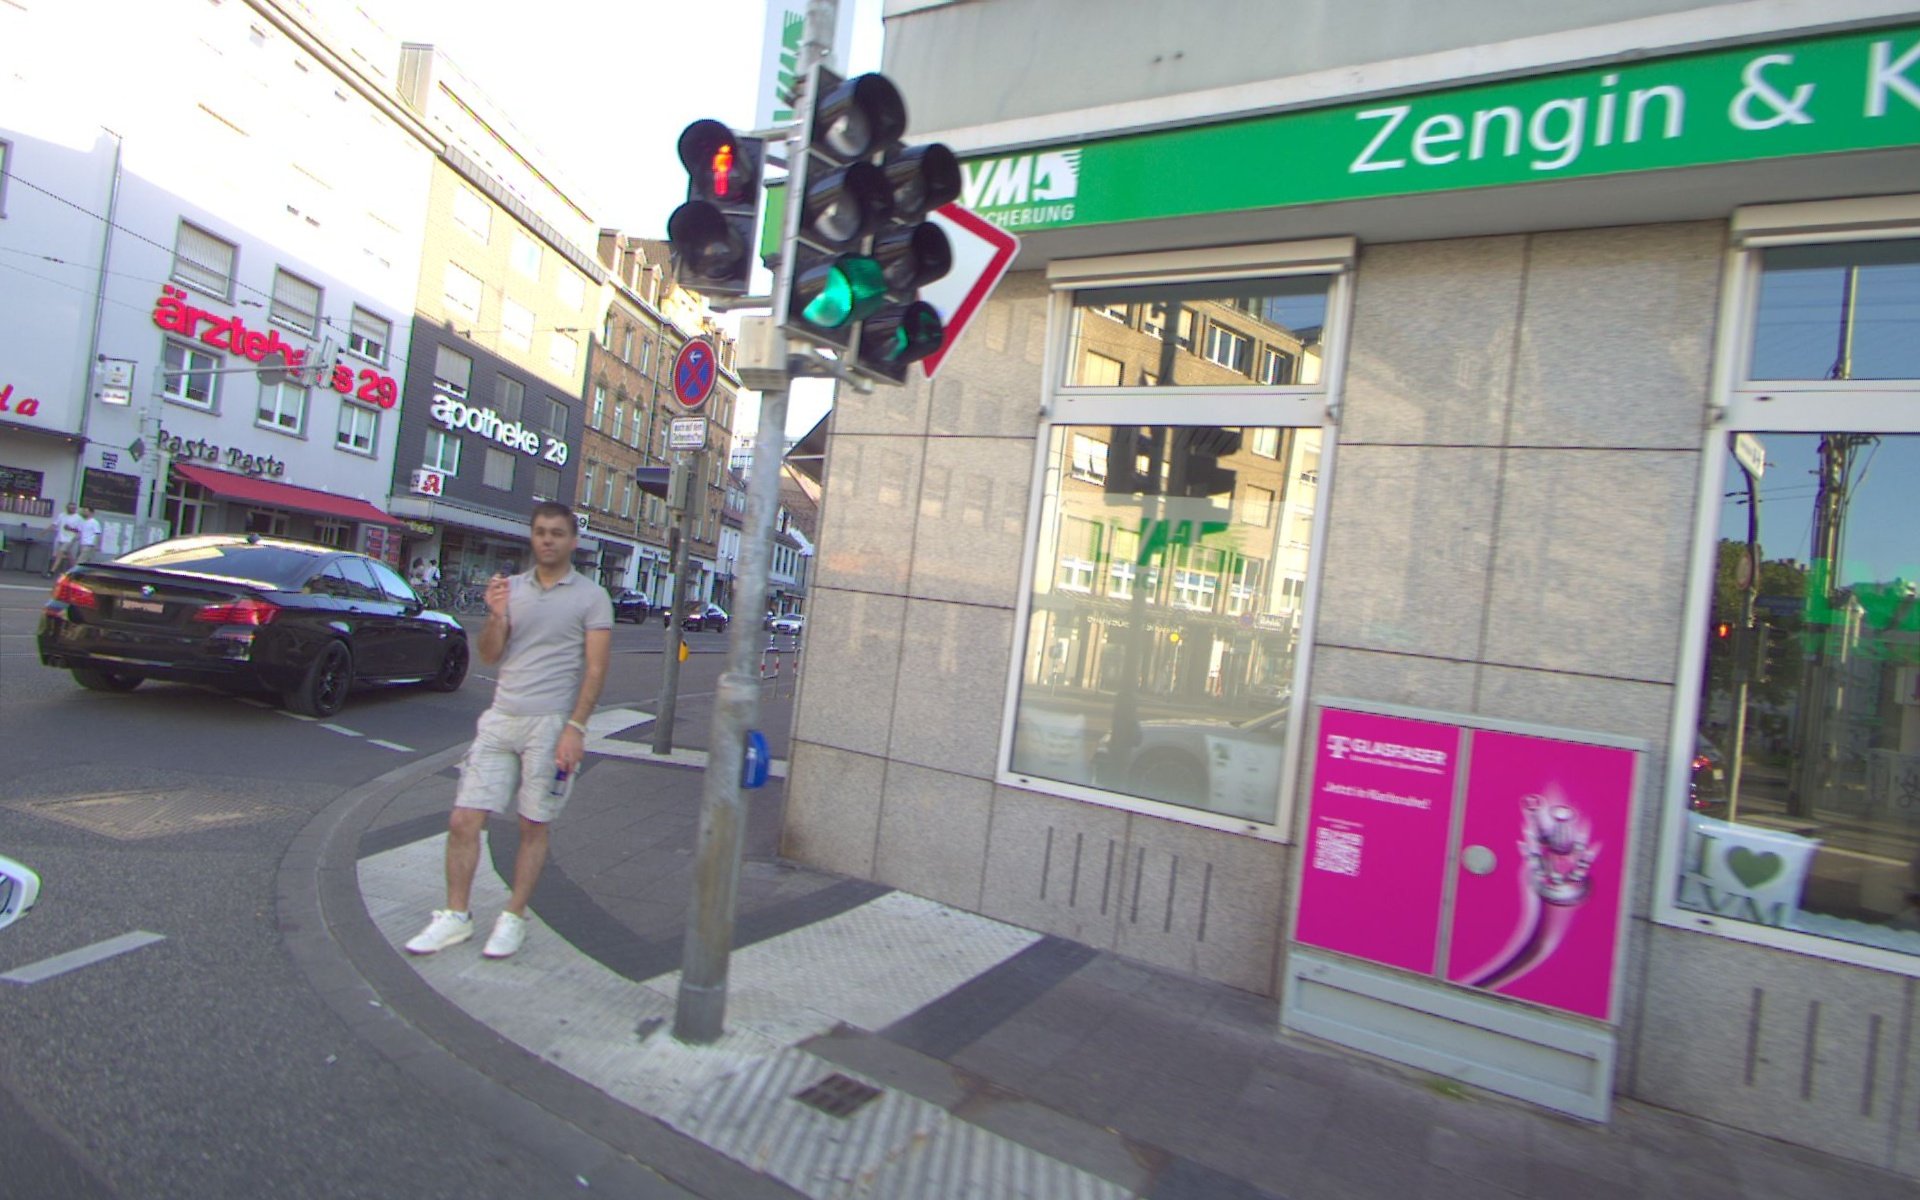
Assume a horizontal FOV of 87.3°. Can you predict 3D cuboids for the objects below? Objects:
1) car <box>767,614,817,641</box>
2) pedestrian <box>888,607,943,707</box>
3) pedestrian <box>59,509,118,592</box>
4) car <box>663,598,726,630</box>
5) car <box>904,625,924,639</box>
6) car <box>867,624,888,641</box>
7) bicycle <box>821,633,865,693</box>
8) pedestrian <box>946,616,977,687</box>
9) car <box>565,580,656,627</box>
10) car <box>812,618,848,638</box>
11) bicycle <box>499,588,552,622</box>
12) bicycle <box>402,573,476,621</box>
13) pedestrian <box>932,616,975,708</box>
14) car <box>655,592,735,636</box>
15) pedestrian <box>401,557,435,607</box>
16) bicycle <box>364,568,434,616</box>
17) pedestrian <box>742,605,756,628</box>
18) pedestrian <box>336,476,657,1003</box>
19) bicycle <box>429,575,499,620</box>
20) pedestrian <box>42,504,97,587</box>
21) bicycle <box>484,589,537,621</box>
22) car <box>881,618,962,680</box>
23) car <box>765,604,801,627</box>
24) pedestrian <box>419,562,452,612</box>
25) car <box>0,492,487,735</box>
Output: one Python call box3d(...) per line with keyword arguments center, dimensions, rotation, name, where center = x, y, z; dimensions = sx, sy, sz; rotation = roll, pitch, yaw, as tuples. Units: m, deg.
box3d(center=(-11.153, 1.855, 67.135), dimensions=(1.962, 1.469, 4.662), rotation=(7, -2, 7), name="car")
box3d(center=(-0.847, 1.099, 19.520), dimensions=(0.754, 1.827, 0.929), rotation=(5, -1, 7), name="pedestrian")
box3d(center=(-19.920, -1.121, 23.005), dimensions=(0.627, 1.765, 0.668), rotation=(7, -1, 28), name="pedestrian")
box3d(center=(-15.435, 0.827, 58.726), dimensions=(1.839, 1.469, 4.616), rotation=(7, -2, 7), name="car")
box3d(center=(-5.810, 4.113, 127.302), dimensions=(1.962, 1.469, 4.654), rotation=(7, -2, 4), name="car")
box3d(center=(-9.611, 3.814, 117.816), dimensions=(1.837, 1.704, 4.004), rotation=(8, -2, 2), name="car")
box3d(center=(-2.461, 1.325, 21.240), dimensions=(0.525, 1.160, 1.492), rotation=(6, -2, 4), name="bicycle")
box3d(center=(0.051, 1.478, 28.824), dimensions=(0.650, 1.950, 0.880), rotation=(6, -1, 4), name="pedestrian")
box3d(center=(-16.262, 0.220, 47.078), dimensions=(1.900, 1.693, 4.651), rotation=(8, -2, 8), name="car")
box3d(center=(-11.791, 2.591, 91.435), dimensions=(1.962, 1.469, 4.828), rotation=(7, -2, 7), name="car")
box3d(center=(-17.084, 0.209, 39.547), dimensions=(1.803, 1.060, 0.489), rotation=(9, 1, 6), name="bicycle")
box3d(center=(-17.400, -0.100, 33.630), dimensions=(2.079, 1.238, 0.554), rotation=(9, -1, 6), name="bicycle")
box3d(center=(-0.126, 1.227, 20.023), dimensions=(0.639, 1.739, 0.679), rotation=(5, -1, 7), name="pedestrian")
box3d(center=(-12.725, 0.724, 48.646), dimensions=(1.962, 1.747, 4.733), rotation=(5, -2, 7), name="car")
box3d(center=(-19.640, -0.643, 36.482), dimensions=(0.671, 1.680, 0.625), rotation=(7, 0, 6), name="pedestrian")
box3d(center=(-17.989, -0.261, 32.269), dimensions=(1.861, 1.225, 0.554), rotation=(9, -1, 6), name="bicycle")
box3d(center=(-15.766, 1.241, 75.304), dimensions=(0.652, 1.663, 0.695), rotation=(7, -1, 7), name="pedestrian")
box3d(center=(-1.752, 0.478, 3.849), dimensions=(0.682, 1.763, 0.653), rotation=(6, -1, 28), name="pedestrian")
box3d(center=(-17.246, -0.086, 34.983), dimensions=(2.079, 1.237, 0.554), rotation=(9, -1, 6), name="bicycle")
box3d(center=(-20.575, -1.263, 23.257), dimensions=(0.627, 1.799, 0.600), rotation=(7, -1, 28), name="pedestrian")
box3d(center=(-17.292, 0.192, 38.691), dimensions=(1.777, 0.923, 0.456), rotation=(10, 1, 6), name="bicycle")
box3d(center=(-1.237, 1.707, 34.825), dimensions=(1.962, 1.747, 4.582), rotation=(8, -2, 6), name="car")
box3d(center=(-13.523, 1.209, 76.996), dimensions=(1.573, 1.456, 3.817), rotation=(6, -2, 6), name="car")
box3d(center=(-18.964, -0.454, 36.383), dimensions=(0.610, 1.720, 0.603), rotation=(7, 0, 6), name="pedestrian")
box3d(center=(-6.367, 0.177, 9.624), dimensions=(1.927, 1.515, 4.462), rotation=(8, -3, -8), name="car")
